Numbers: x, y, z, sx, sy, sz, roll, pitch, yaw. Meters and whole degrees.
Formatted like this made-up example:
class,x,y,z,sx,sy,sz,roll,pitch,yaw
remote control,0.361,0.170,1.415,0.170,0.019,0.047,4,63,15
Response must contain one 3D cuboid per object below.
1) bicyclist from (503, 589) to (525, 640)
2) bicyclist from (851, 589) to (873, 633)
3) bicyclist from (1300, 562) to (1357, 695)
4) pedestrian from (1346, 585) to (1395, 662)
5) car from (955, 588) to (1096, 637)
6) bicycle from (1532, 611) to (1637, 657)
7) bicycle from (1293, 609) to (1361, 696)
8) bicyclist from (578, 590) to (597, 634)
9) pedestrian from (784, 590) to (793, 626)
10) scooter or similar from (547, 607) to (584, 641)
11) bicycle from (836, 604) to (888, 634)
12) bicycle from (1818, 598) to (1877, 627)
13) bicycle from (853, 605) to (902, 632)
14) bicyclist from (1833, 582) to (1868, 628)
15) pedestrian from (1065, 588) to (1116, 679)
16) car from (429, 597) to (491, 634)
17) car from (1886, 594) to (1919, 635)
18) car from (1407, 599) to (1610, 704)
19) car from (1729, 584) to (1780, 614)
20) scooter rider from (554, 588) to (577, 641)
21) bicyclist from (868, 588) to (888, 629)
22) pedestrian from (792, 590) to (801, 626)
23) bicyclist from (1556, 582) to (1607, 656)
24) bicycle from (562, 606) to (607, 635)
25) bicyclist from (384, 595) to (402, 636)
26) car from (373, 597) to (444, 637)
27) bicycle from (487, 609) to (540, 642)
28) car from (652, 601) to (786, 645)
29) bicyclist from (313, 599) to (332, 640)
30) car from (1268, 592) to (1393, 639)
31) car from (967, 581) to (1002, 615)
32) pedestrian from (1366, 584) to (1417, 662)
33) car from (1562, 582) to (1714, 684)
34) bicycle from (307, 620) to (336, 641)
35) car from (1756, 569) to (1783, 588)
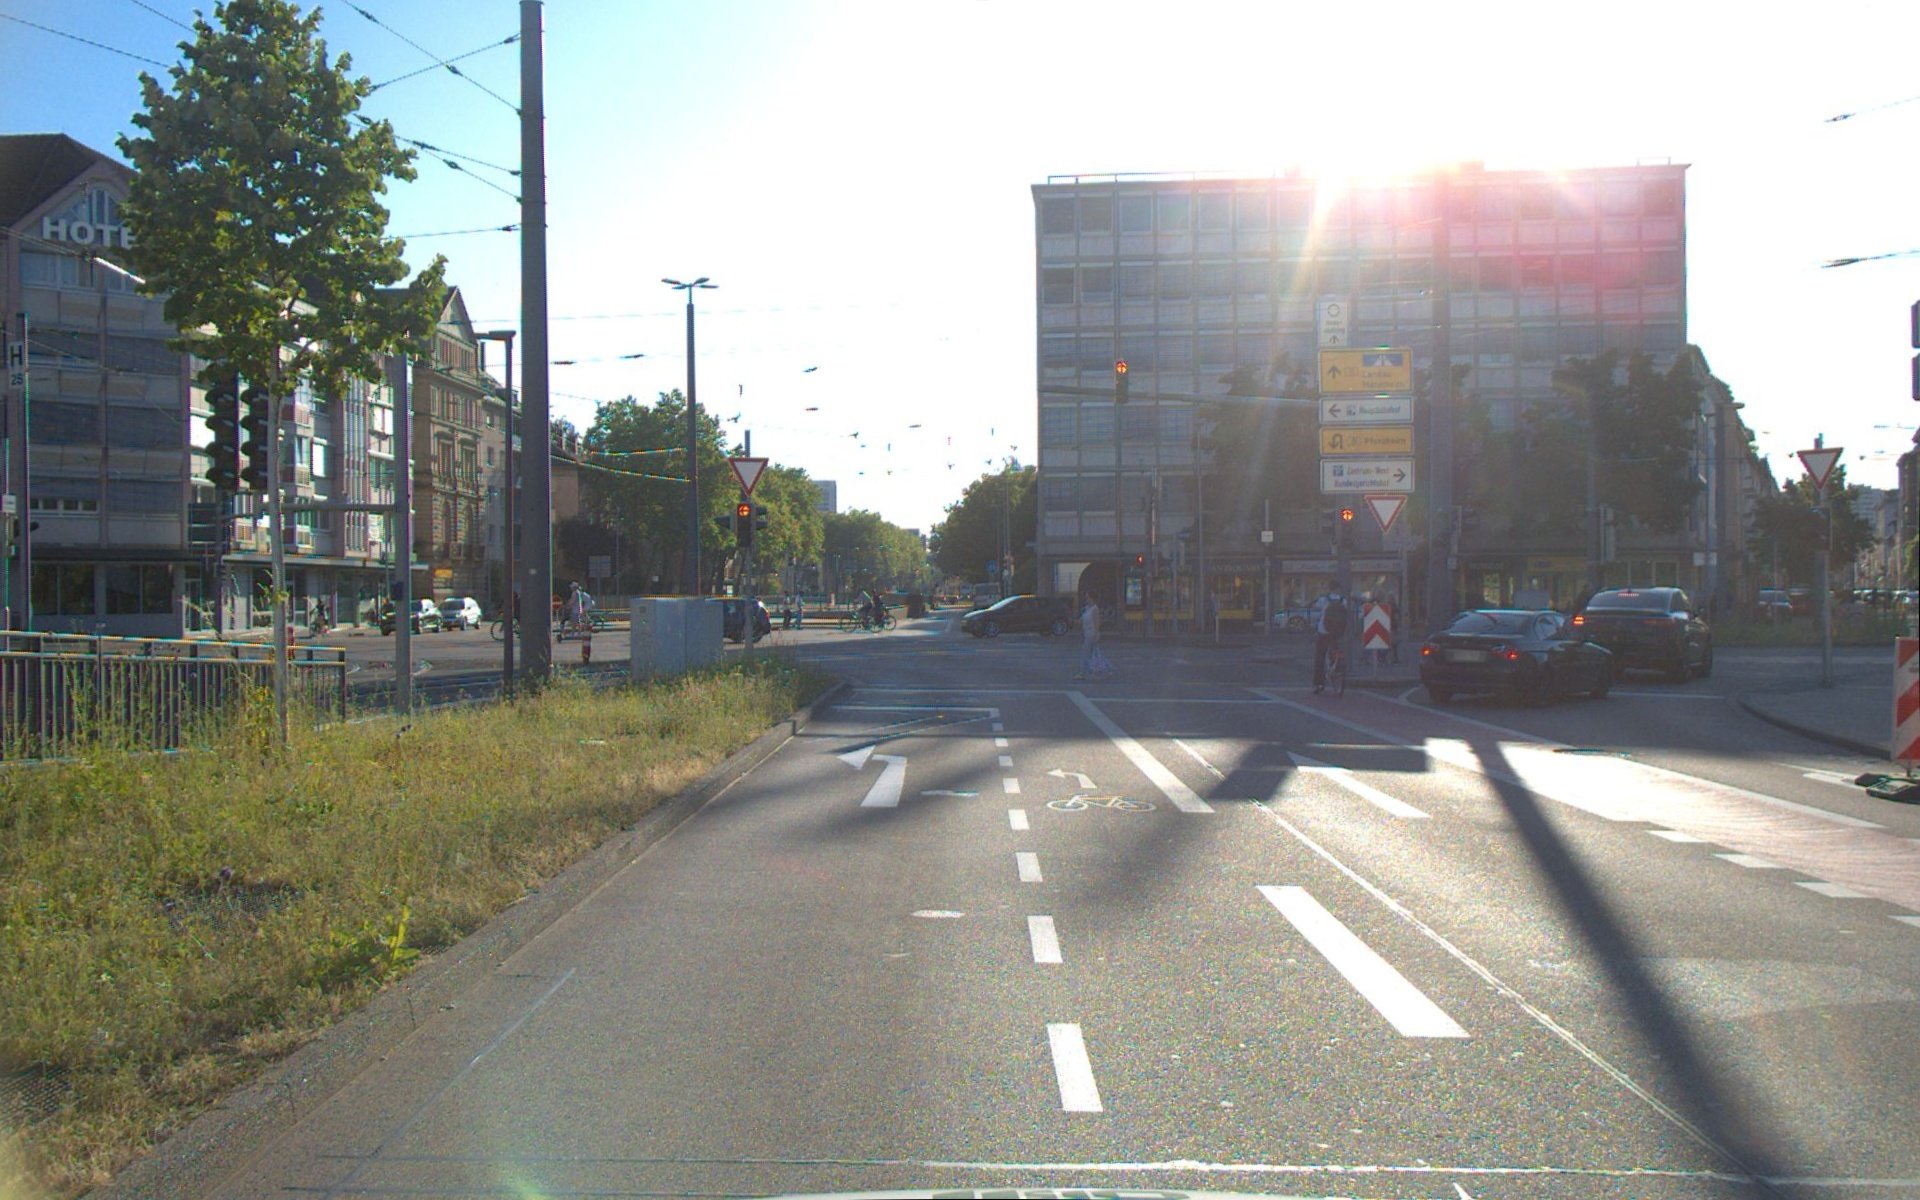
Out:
class,x,y,z,sx,sy,sz,roll,pitch,yaw
bicyclist,-15.566,0.508,57.690,0.651,1.742,0.537,-1,0,-10
bicyclist,-3.966,0.447,67.007,0.880,1.783,0.654,-1,0,-4
bicyclist,5.849,0.437,26.280,0.630,2.048,1.067,1,1,1
pedestrian,8.858,0.507,35.701,0.861,1.625,0.655,-1,0,-2
car,2.292,0.438,58.824,4.679,1.624,1.995,-1,0,-11
bicycle,14.452,0.781,38.321,2.179,1.044,0.682,0,0,3
bicycle,5.831,0.809,26.372,0.631,1.244,2.049,1,2,1
bicyclist,-14.744,0.470,65.444,0.651,1.742,0.537,-1,0,-10
pedestrian,-7.377,0.328,71.051,0.359,1.534,0.542,-1,0,-7
scooter or similar,-13.199,0.806,55.362,1.150,1.091,0.529,-1,0,-10
bicycle,-3.978,0.761,67.004,2.053,1.157,0.658,-1,0,-5
bicycle,34.623,0.473,64.532,1.934,1.117,0.677,-1,0,-4
bicycle,-3.684,0.817,73.940,2.131,1.157,0.658,-1,0,-5
bicyclist,34.761,0.189,64.572,1.019,1.769,0.677,0,0,-4
pedestrian,2.372,0.599,30.086,0.860,1.625,0.655,-1,0,0
car,-26.886,0.836,89.076,1.952,1.892,4.001,-1,0,2
car,37.152,0.532,61.131,4.818,1.504,2.000,0,0,21
car,8.422,0.715,25.204,1.715,1.451,3.982,0,0,38
car,39.138,-0.065,81.550,1.952,1.422,4.000,-1,0,21
scooter rider,-13.204,0.474,55.367,0.651,1.742,0.525,-1,0,-10
bicyclist,-3.666,0.367,73.938,0.880,1.783,0.650,-1,0,-4
pedestrian,-7.079,0.347,71.662,0.359,1.534,0.542,-1,0,-7
bicyclist,14.389,0.438,38.318,0.939,1.690,0.691,0,0,3
bicycle,-14.850,0.811,65.427,1.700,1.078,0.538,-1,0,-10
bicyclist,-29.114,0.795,84.911,0.590,2.049,0.779,0,0,3
car,-27.004,0.811,81.104,1.952,1.892,4.001,-1,0,2
bicycle,-15.572,0.880,57.692,1.743,1.091,0.534,-1,0,-10
car,-7.797,0.735,53.649,3.957,1.310,1.823,-1,0,-37
bicyclist,-29.638,0.916,76.940,0.580,1.894,0.642,-1,0,2
car,13.335,0.548,59.705,4.239,1.624,2.002,-1,0,8
car,1.801,-0.139,124.136,2.435,2.434,5.933,-2,0,0
pedestrian,9.131,0.487,35.010,0.861,1.625,0.655,-1,0,-2
car,12.782,0.551,31.058,1.958,1.723,3.990,2,2,32
bicycle,-29.637,1.401,76.814,0.586,0.931,1.836,-1,0,2
car,65.767,-1.745,134.390,1.954,1.422,3.996,-1,0,26
